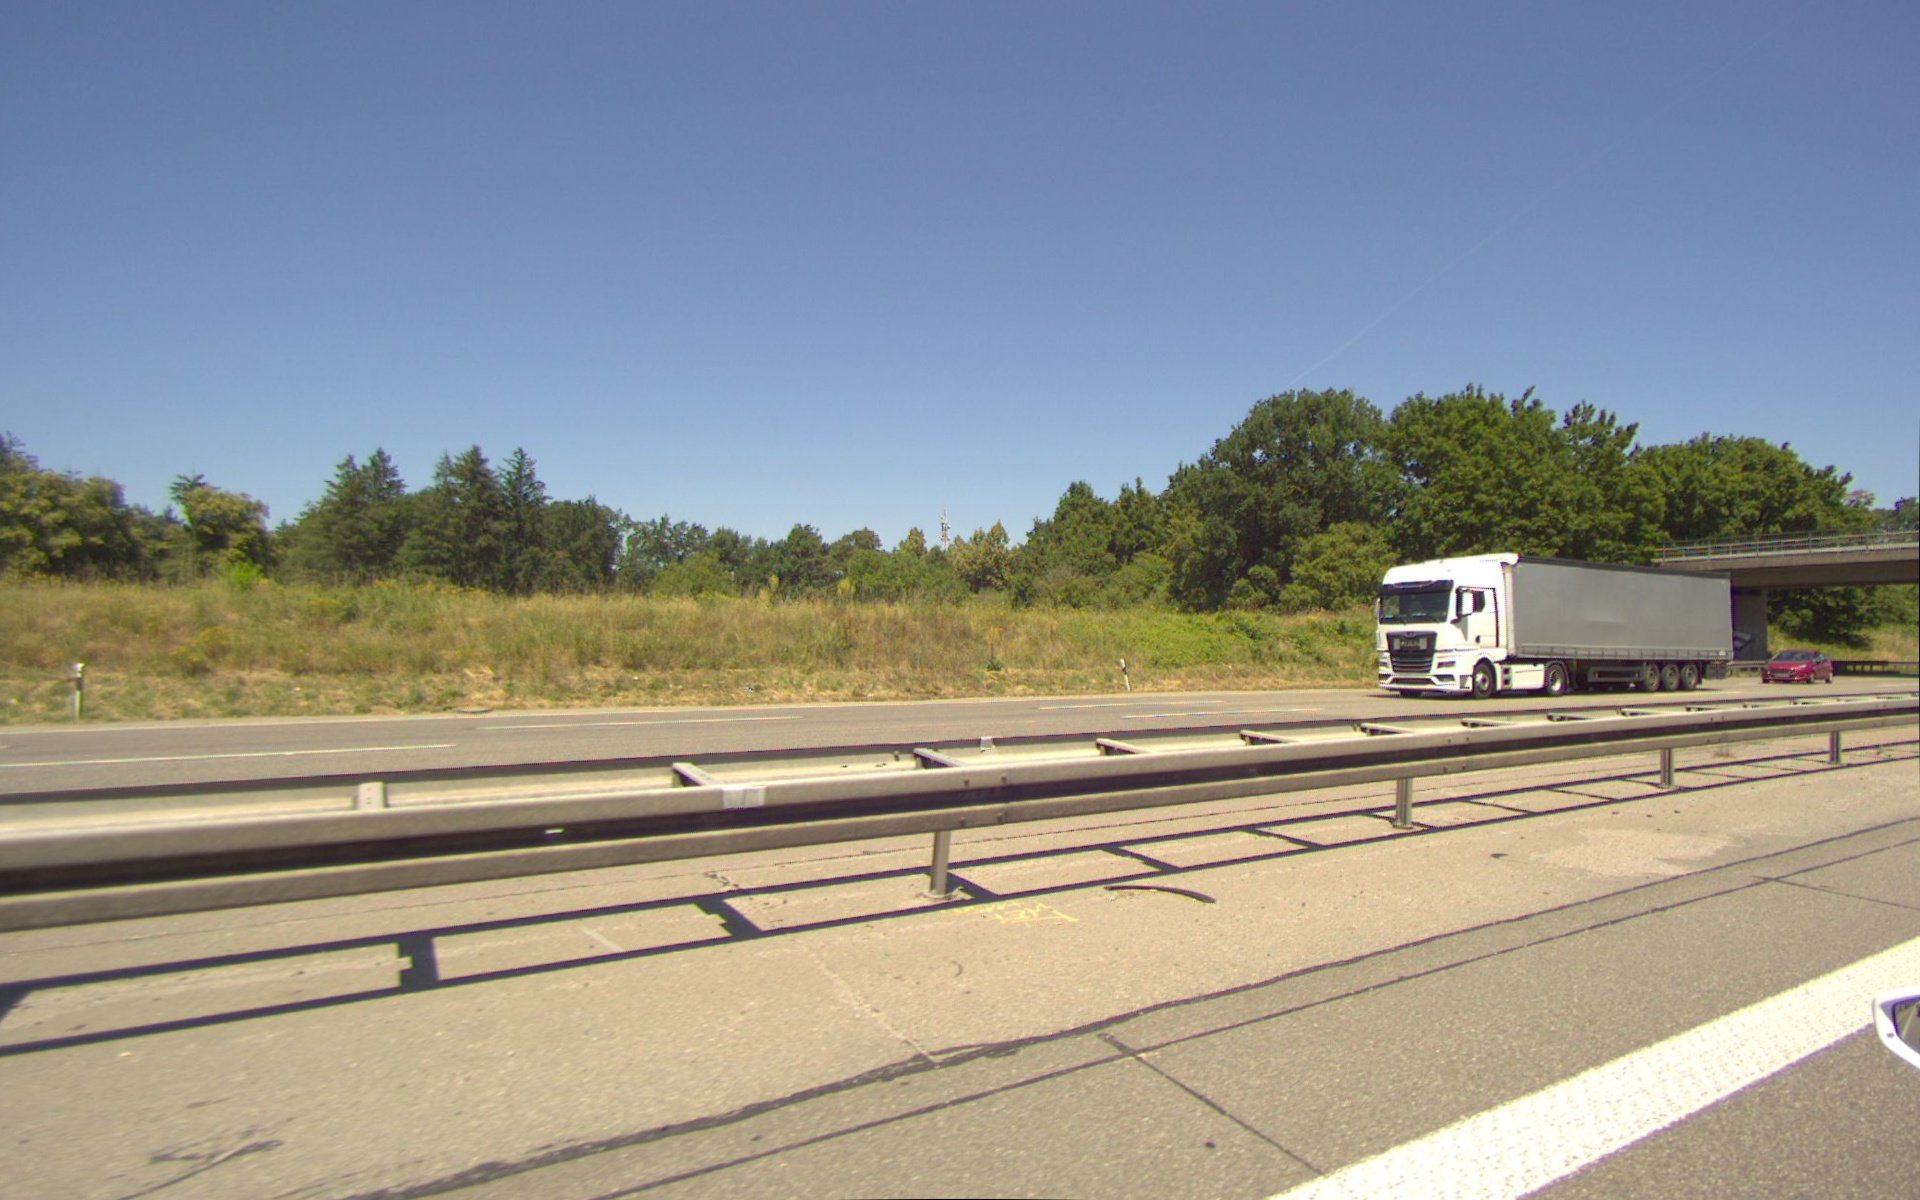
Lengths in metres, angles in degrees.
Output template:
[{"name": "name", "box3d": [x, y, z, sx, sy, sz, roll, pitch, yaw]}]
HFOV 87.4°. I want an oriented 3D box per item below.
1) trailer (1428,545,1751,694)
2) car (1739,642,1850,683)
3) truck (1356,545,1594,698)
[{"name": "trailer", "box3d": [21.035, 0.770, 32.969, 13.941, 4.161, 2.935, 1, -4, -31]}, {"name": "car", "box3d": [35.779, 2.648, 43.064, 4.733, 1.632, 2.217, 1, -3, -31]}, {"name": "truck", "box3d": [15.094, 0.706, 29.333, 6.873, 4.011, 2.935, 1, -4, -31]}]
